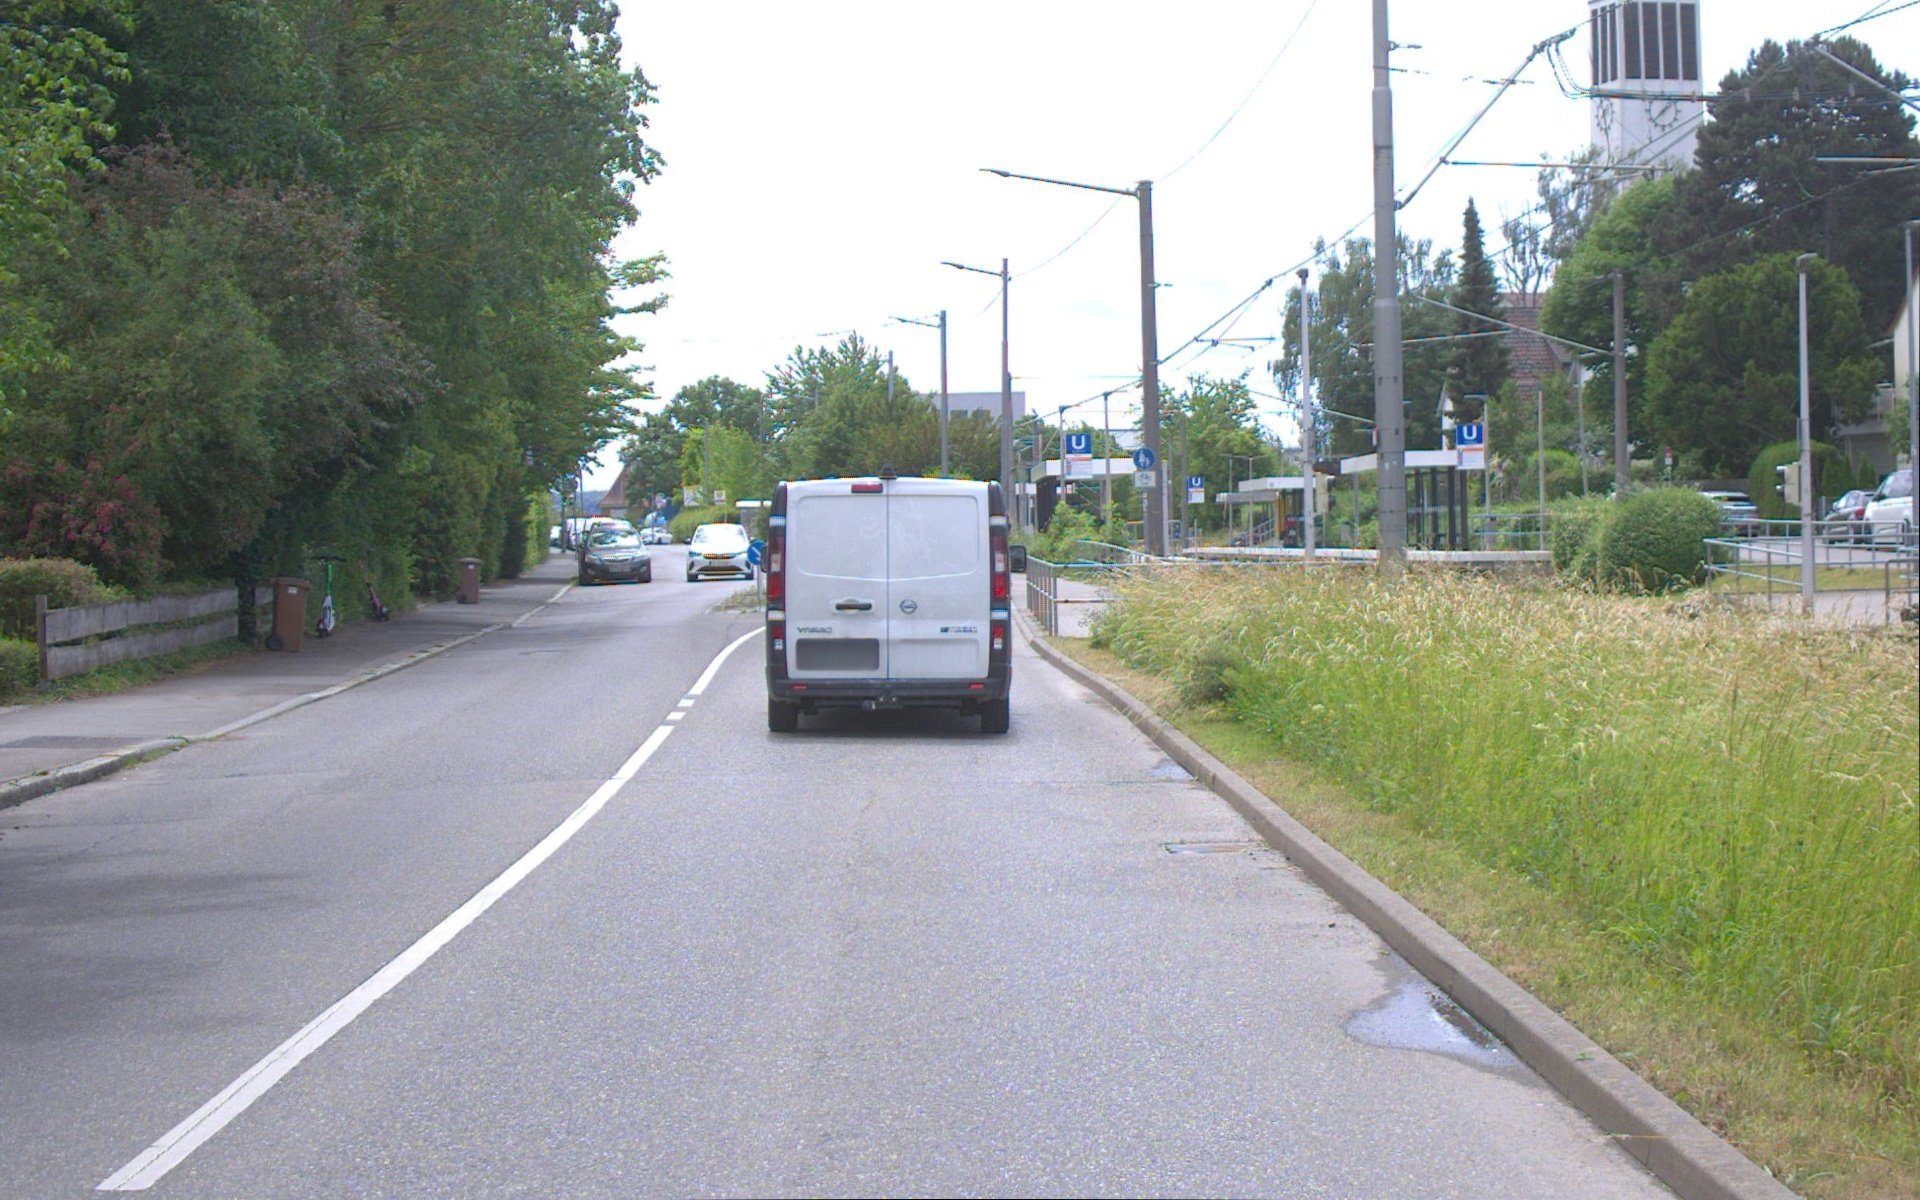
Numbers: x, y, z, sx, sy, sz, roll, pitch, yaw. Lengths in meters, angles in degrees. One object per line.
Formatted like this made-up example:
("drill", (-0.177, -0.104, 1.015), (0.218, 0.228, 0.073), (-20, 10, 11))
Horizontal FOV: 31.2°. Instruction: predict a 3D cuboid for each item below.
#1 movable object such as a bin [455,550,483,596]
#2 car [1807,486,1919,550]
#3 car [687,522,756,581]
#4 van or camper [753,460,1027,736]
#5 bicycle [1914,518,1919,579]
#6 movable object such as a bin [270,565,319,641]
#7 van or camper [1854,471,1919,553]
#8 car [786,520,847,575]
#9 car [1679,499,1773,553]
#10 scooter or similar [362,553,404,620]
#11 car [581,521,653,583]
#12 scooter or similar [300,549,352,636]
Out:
("movable object such as a bin", (-10.115, -0.563, 70.788), (0.462, 0.927, 0.430), (3, 0, -18))
("car", (22.195, -2.007, 84.319), (1.883, 1.517, 4.000), (-1, 1, 0))
("car", (-6.217, -1.285, 89.464), (1.693, 1.425, 3.787), (-3, 1, -4))
("van or camper", (-0.518, -0.046, 27.440), (1.993, 2.007, 4.446), (1, 1, 0))
("bicycle", (16.788, -0.872, 58.251), (0.538, 1.042, 2.540), (-1, 1, 0))
("movable object such as a bin", (-8.395, 0.038, 43.368), (0.513, 0.941, 0.568), (0, 1, -1))
("van or camper", (22.089, -2.016, 78.829), (1.905, 1.819, 5.048), (-1, 1, 0))
("car", (-4.484, -1.657, 107.332), (1.852, 1.642, 3.735), (-1, 1, -2))
("car", (22.332, -2.150, 100.332), (1.883, 1.517, 4.000), (-1, 1, 0))
("scooter or similar", (-9.583, -0.230, 57.084), (0.477, 1.077, 1.214), (0, 1, -19))
("car", (-9.006, -1.271, 90.140), (1.736, 1.499, 4.479), (-3, 2, -7))
("scooter or similar", (-9.000, -0.115, 48.848), (0.408, 1.195, 1.639), (-1, 1, 0))
